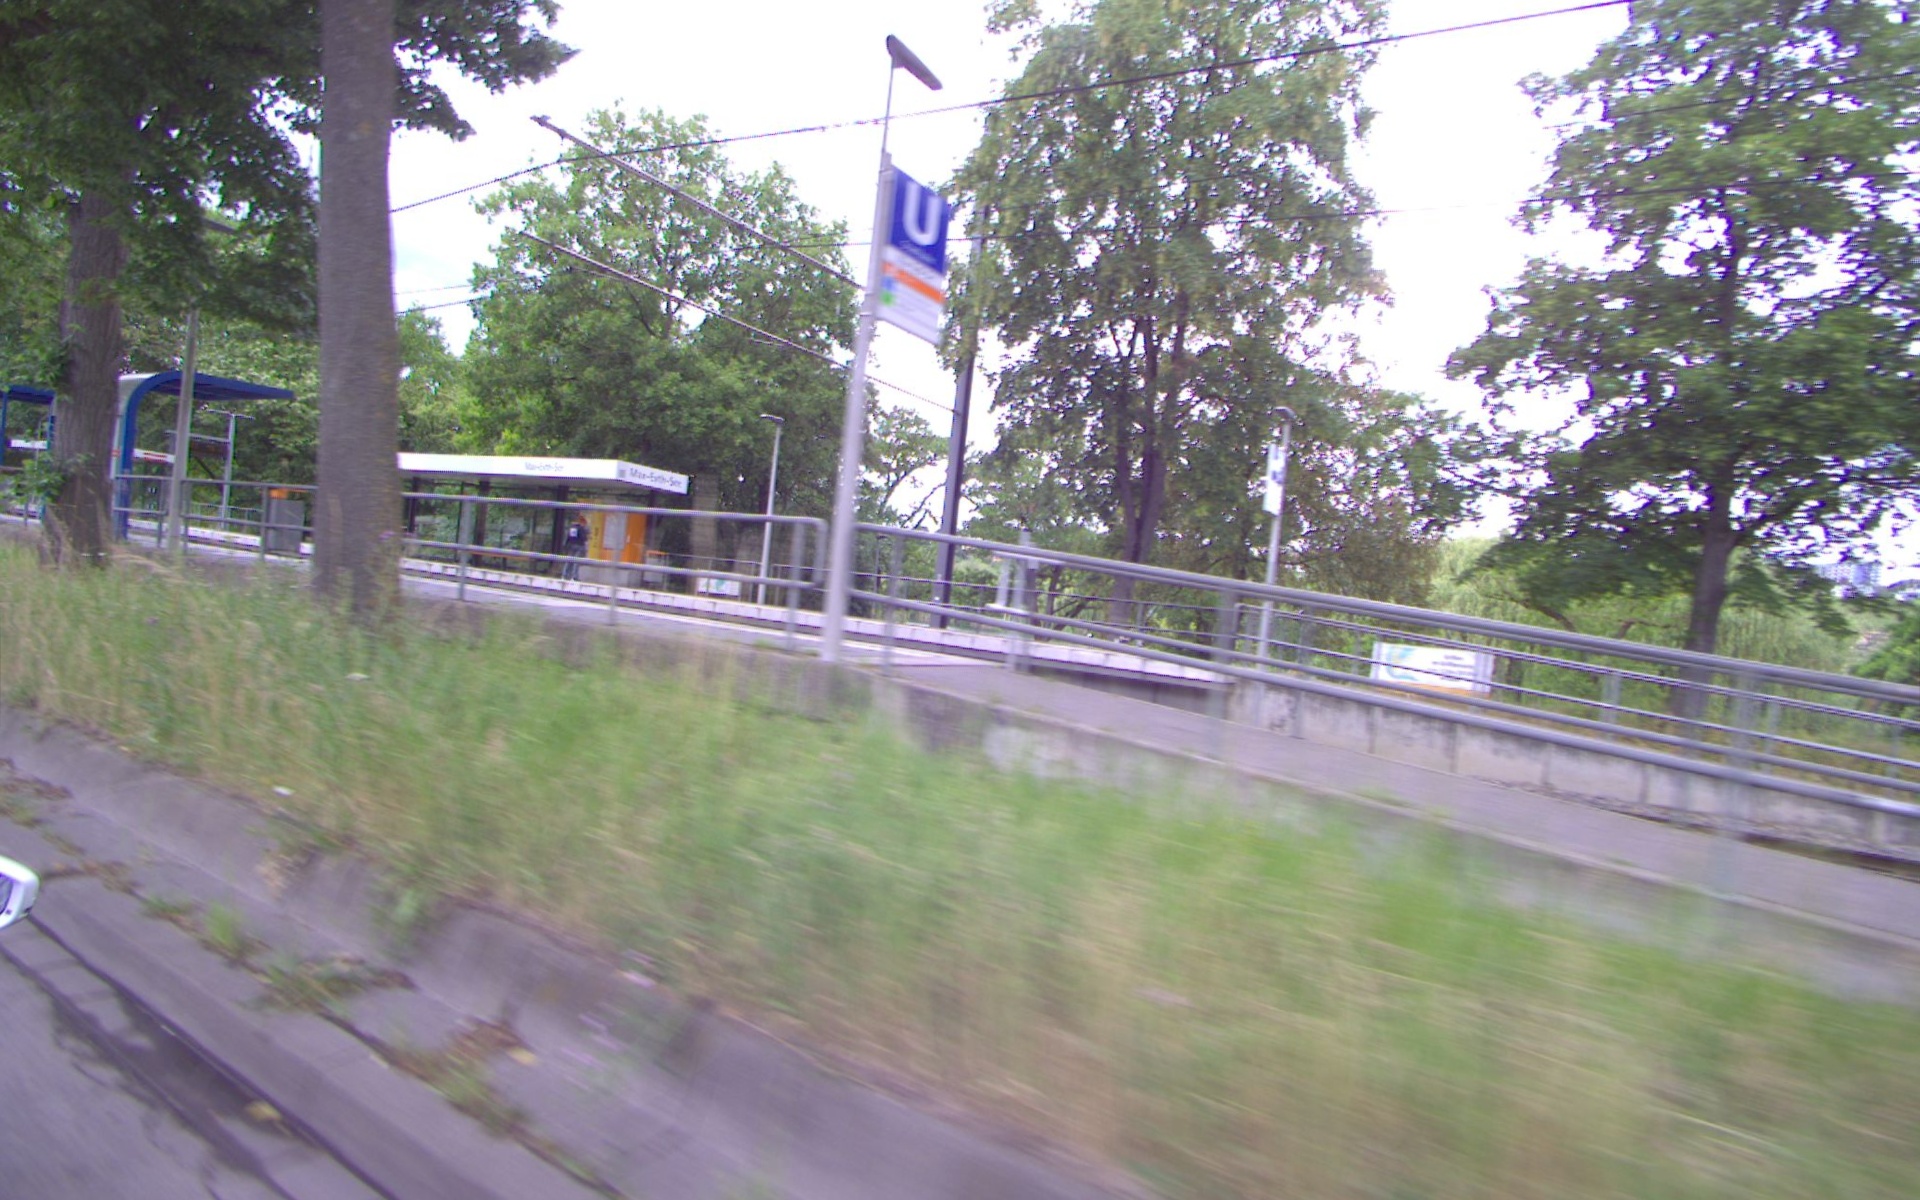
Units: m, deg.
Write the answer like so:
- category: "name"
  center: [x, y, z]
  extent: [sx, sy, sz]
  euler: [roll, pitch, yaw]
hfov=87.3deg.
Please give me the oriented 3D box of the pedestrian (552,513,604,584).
- category: "pedestrian"
  center: [-8.977, -1.208, 23.655]
  extent: [0.712, 1.529, 0.719]
  euler: [6, -1, 35]
